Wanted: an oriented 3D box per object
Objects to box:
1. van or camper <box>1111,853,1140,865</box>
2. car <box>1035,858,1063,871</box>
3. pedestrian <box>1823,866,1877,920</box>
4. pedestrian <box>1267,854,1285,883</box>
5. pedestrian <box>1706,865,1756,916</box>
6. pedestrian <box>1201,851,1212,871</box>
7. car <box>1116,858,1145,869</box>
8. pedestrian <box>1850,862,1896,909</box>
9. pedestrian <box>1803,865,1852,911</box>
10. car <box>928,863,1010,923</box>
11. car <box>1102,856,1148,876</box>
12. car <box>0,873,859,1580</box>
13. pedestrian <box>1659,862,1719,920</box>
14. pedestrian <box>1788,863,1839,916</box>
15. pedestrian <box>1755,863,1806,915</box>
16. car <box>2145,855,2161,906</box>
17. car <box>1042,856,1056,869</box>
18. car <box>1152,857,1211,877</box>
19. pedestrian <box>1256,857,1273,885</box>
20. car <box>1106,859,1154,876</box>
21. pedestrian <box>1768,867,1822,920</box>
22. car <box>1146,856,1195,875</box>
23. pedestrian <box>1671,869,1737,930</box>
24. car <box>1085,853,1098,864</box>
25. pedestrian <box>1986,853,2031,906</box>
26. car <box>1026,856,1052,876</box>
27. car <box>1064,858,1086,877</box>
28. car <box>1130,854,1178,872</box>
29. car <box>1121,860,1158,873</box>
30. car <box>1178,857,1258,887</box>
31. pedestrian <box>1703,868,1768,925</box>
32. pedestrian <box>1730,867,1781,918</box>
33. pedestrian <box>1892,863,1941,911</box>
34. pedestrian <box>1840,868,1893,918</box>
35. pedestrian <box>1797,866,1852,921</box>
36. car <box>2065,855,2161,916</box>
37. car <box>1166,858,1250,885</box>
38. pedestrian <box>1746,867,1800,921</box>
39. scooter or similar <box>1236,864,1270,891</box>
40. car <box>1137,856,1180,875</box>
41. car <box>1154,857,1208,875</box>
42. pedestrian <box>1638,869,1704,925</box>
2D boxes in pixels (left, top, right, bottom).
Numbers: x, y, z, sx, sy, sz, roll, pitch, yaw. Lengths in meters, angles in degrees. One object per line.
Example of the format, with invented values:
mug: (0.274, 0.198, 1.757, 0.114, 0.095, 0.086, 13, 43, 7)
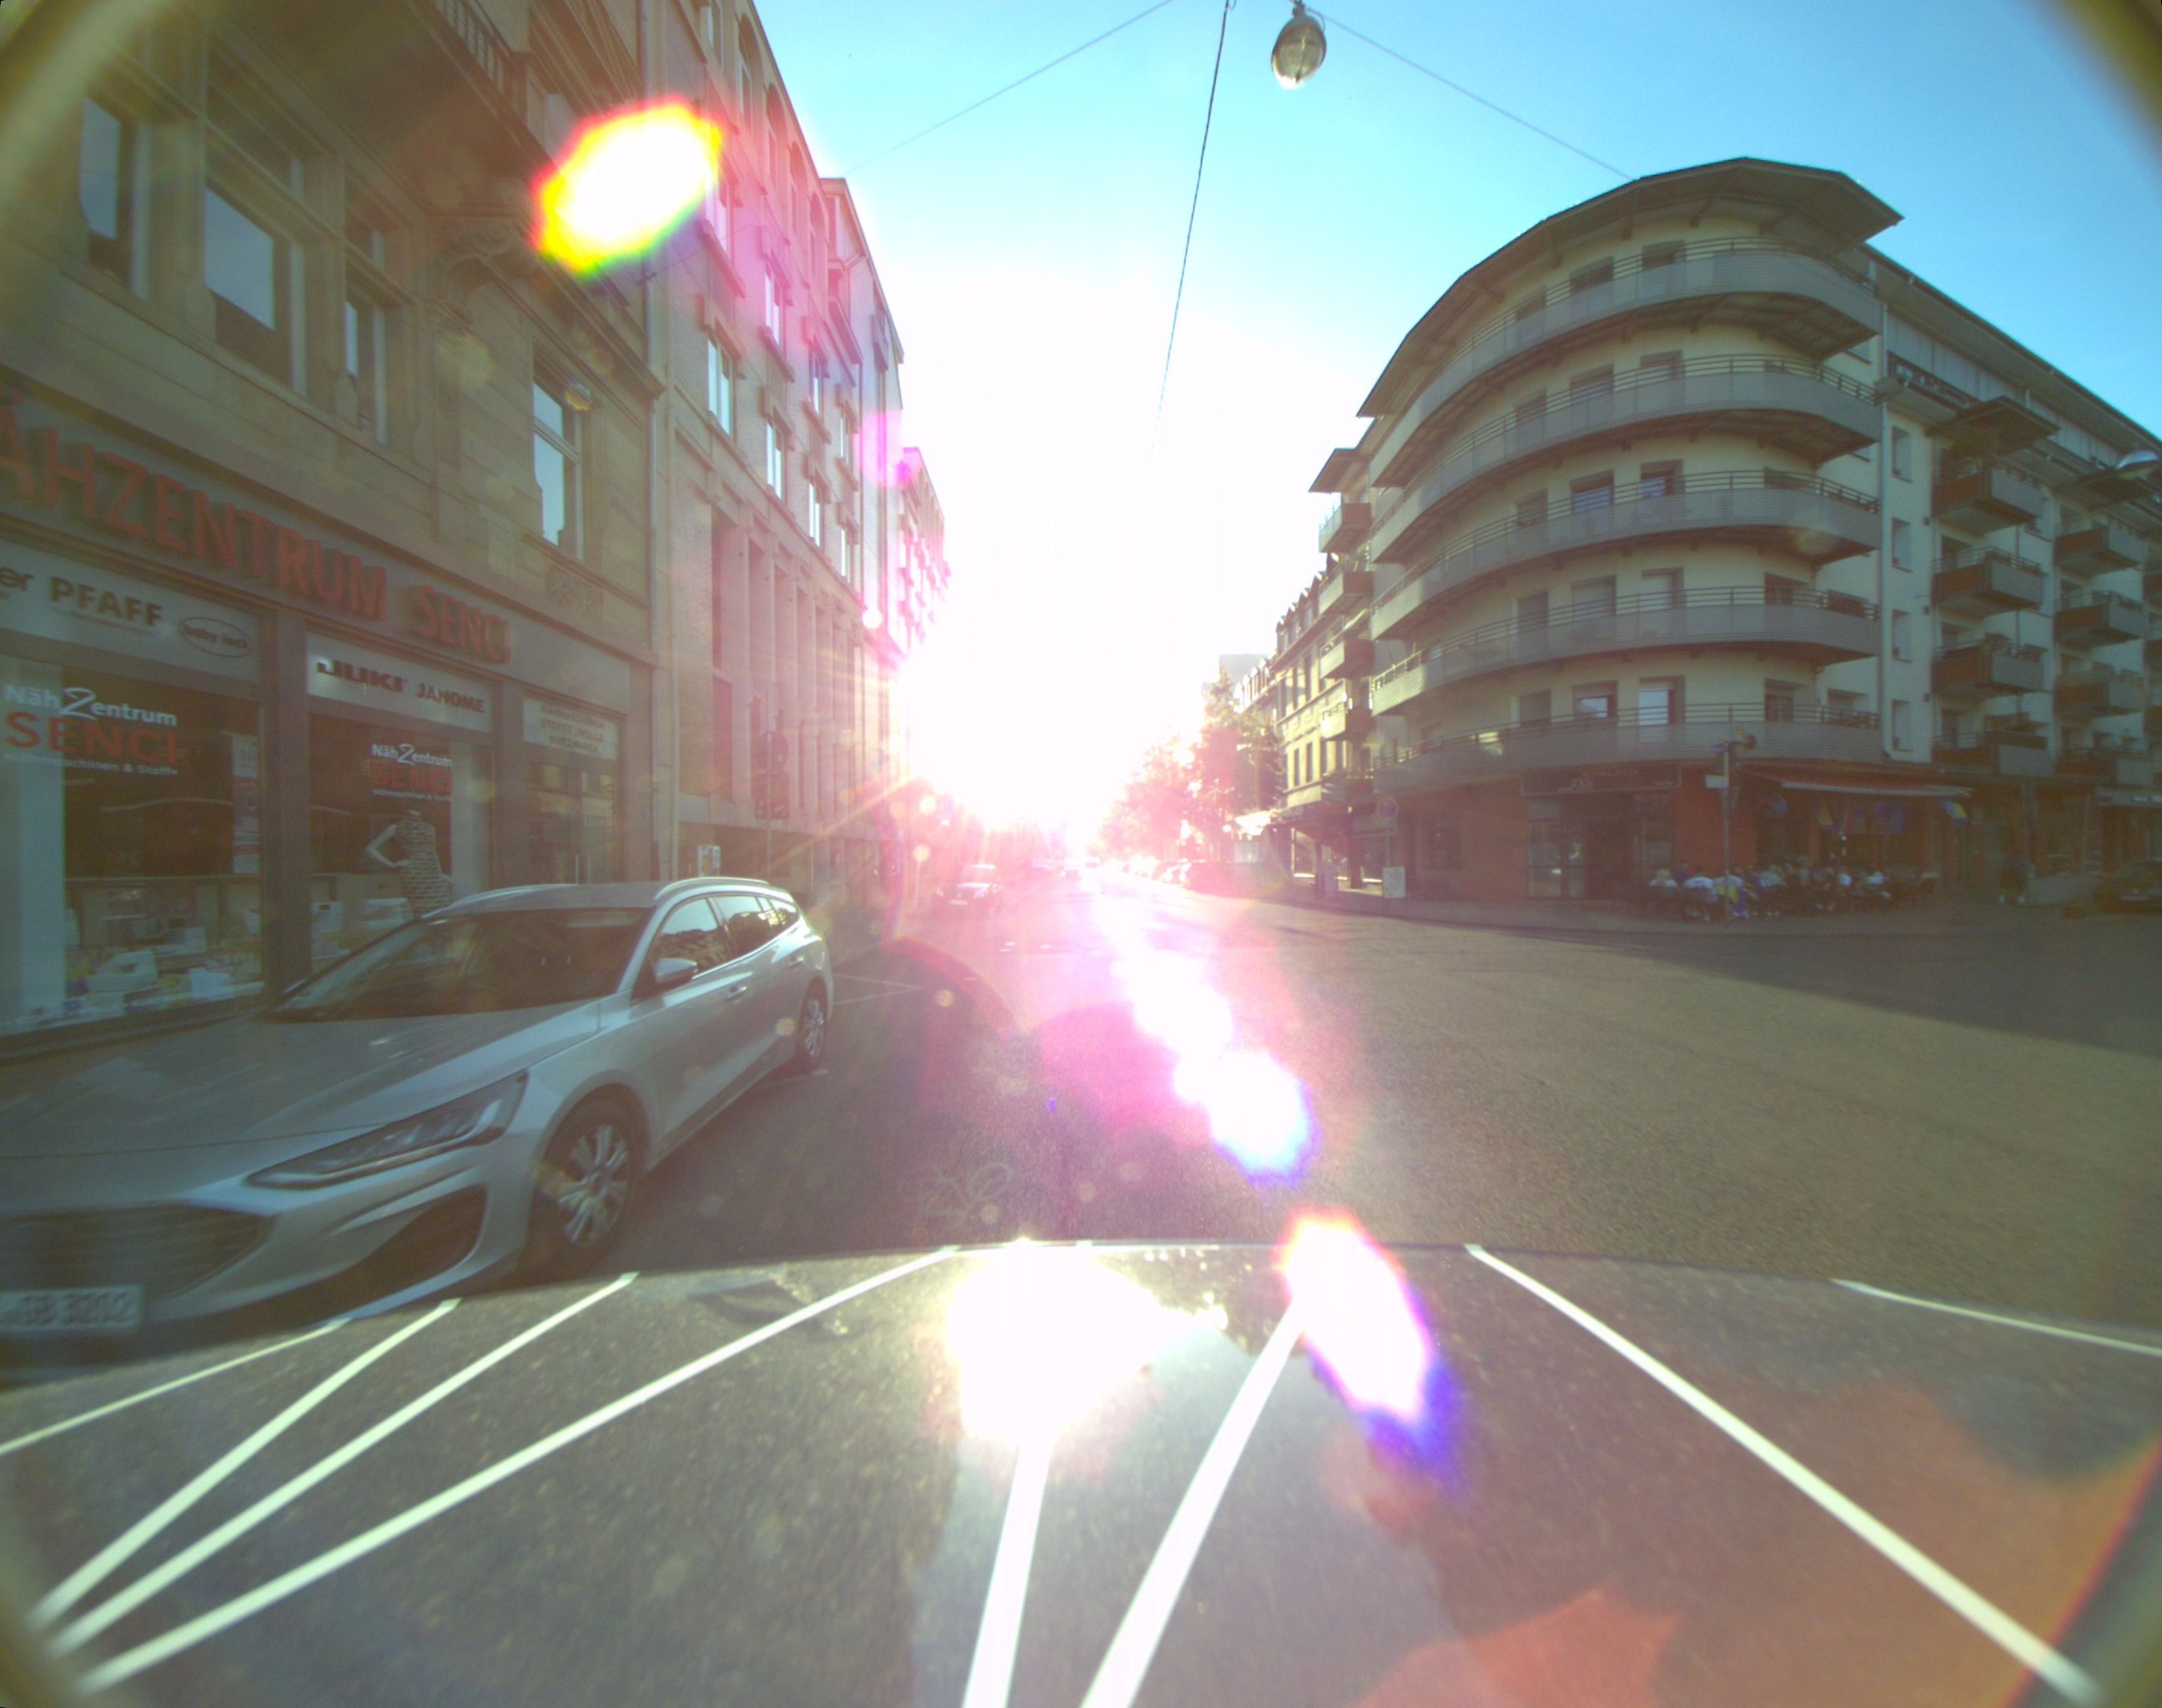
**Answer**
van or camper: (7.020, 0.808, 121.117, 4.469, 1.944, 1.789, -1, 0, 1)
car: (-4.267, 1.413, 102.579, 1.661, 1.574, 3.632, 0, -2, 41)
pedestrian: (19.109, 0.960, 18.891, 0.622, 1.280, 0.701, 0, 2, -10)
pedestrian: (11.359, 0.839, 44.190, 0.774, 1.598, 0.875, -2, 2, 0)
pedestrian: (16.332, 0.898, 19.114, 0.622, 1.240, 0.701, 0, 2, -10)
pedestrian: (10.980, 0.581, 66.375, 0.774, 1.712, 0.875, -2, 2, 0)
car: (6.955, 1.359, 106.574, 3.877, 1.448, 1.744, -1, 0, -3)
pedestrian: (22.538, 0.890, 21.622, 0.622, 1.280, 0.700, -1, 2, -22)
pedestrian: (20.542, 0.934, 20.915, 0.622, 1.218, 0.700, -1, 2, -14)
car: (-3.229, 1.090, 22.601, 1.763, 1.527, 4.000, 2, 0, 1)
car: (4.149, 1.129, 72.636, 4.161, 1.762, 1.889, -2, 0, -3)
car: (-2.772, 0.988, 4.240, 1.764, 1.527, 4.820, -3, 1, -2)
pedestrian: (14.731, 0.876, 18.426, 0.748, 1.340, 0.828, 0, 2, -7)
pedestrian: (19.212, 0.915, 19.934, 0.622, 1.326, 0.701, 0, 2, -10)
pedestrian: (18.085, 0.889, 19.658, 0.657, 1.280, 0.701, 0, 2, -10)
car: (36.284, 0.826, 24.227, 4.005, 1.586, 1.966, -1, 0, -24)
car: (-3.937, 1.089, 93.611, 1.696, 1.534, 3.553, 1, 0, -1)
car: (7.615, 0.999, 57.951, 4.118, 1.395, 1.883, -2, 0, -3)
pedestrian: (10.653, 0.985, 44.134, 0.736, 1.519, 0.875, -2, 2, 0)
car: (4.474, 1.247, 69.822, 4.161, 1.413, 1.766, -2, 0, -3)
pedestrian: (17.276, 0.946, 18.394, 0.622, 1.240, 0.701, 0, 2, -10)
car: (7.429, 0.945, 63.442, 3.748, 1.435, 1.805, -2, 0, -3)
pedestrian: (13.751, 0.985, 16.789, 0.829, 1.266, 0.748, 0, 2, -9)
car: (1.654, 0.735, 119.034, 1.866, 1.682, 4.461, -1, -1, -1)
pedestrian: (26.257, 0.705, 21.513, 0.702, 1.461, 0.620, -1, 2, -27)
car: (-3.826, 1.098, 70.043, 2.044, 1.727, 4.711, 1, 0, 0)
car: (-0.506, 1.147, 65.115, 1.825, 1.469, 4.155, -1, 0, 0)
car: (7.186, 0.896, 75.082, 4.418, 1.586, 1.890, -2, -1, -2)
car: (6.958, 1.508, 90.273, 4.285, 1.475, 1.744, -1, 0, 0)
car: (7.653, 0.991, 42.650, 4.083, 1.527, 1.884, -2, 0, -1)
pedestrian: (14.852, 0.947, 17.255, 0.724, 1.240, 0.828, 0, 2, -7)
pedestrian: (17.054, 0.970, 19.229, 0.622, 1.240, 0.701, 0, 2, -10)
pedestrian: (23.123, 0.908, 21.035, 0.622, 1.280, 0.700, -1, 2, -22)
pedestrian: (20.238, 0.998, 19.579, 0.622, 1.218, 0.700, -1, 2, -14)
pedestrian: (18.200, 0.952, 18.607, 0.622, 1.280, 0.701, 0, 2, -10)
car: (30.549, 0.846, 21.772, 4.005, 1.586, 1.966, -1, 0, -24)
car: (7.524, 1.031, 45.283, 4.583, 1.399, 1.821, -2, 0, -2)
pedestrian: (16.559, 0.946, 18.186, 0.622, 1.240, 0.701, 0, 2, -10)
scooter or similar: (7.939, 1.082, 35.012, 1.402, 1.218, 0.525, -2, 0, -4)
car: (6.879, 1.017, 67.394, 3.566, 1.493, 1.715, -2, 0, -2)
car: (7.917, 0.940, 60.519, 4.107, 1.395, 1.843, -1, 0, 1)
pedestrian: (13.539, 0.975, 17.460, 0.900, 1.235, 0.767, 0, 2, -9)
